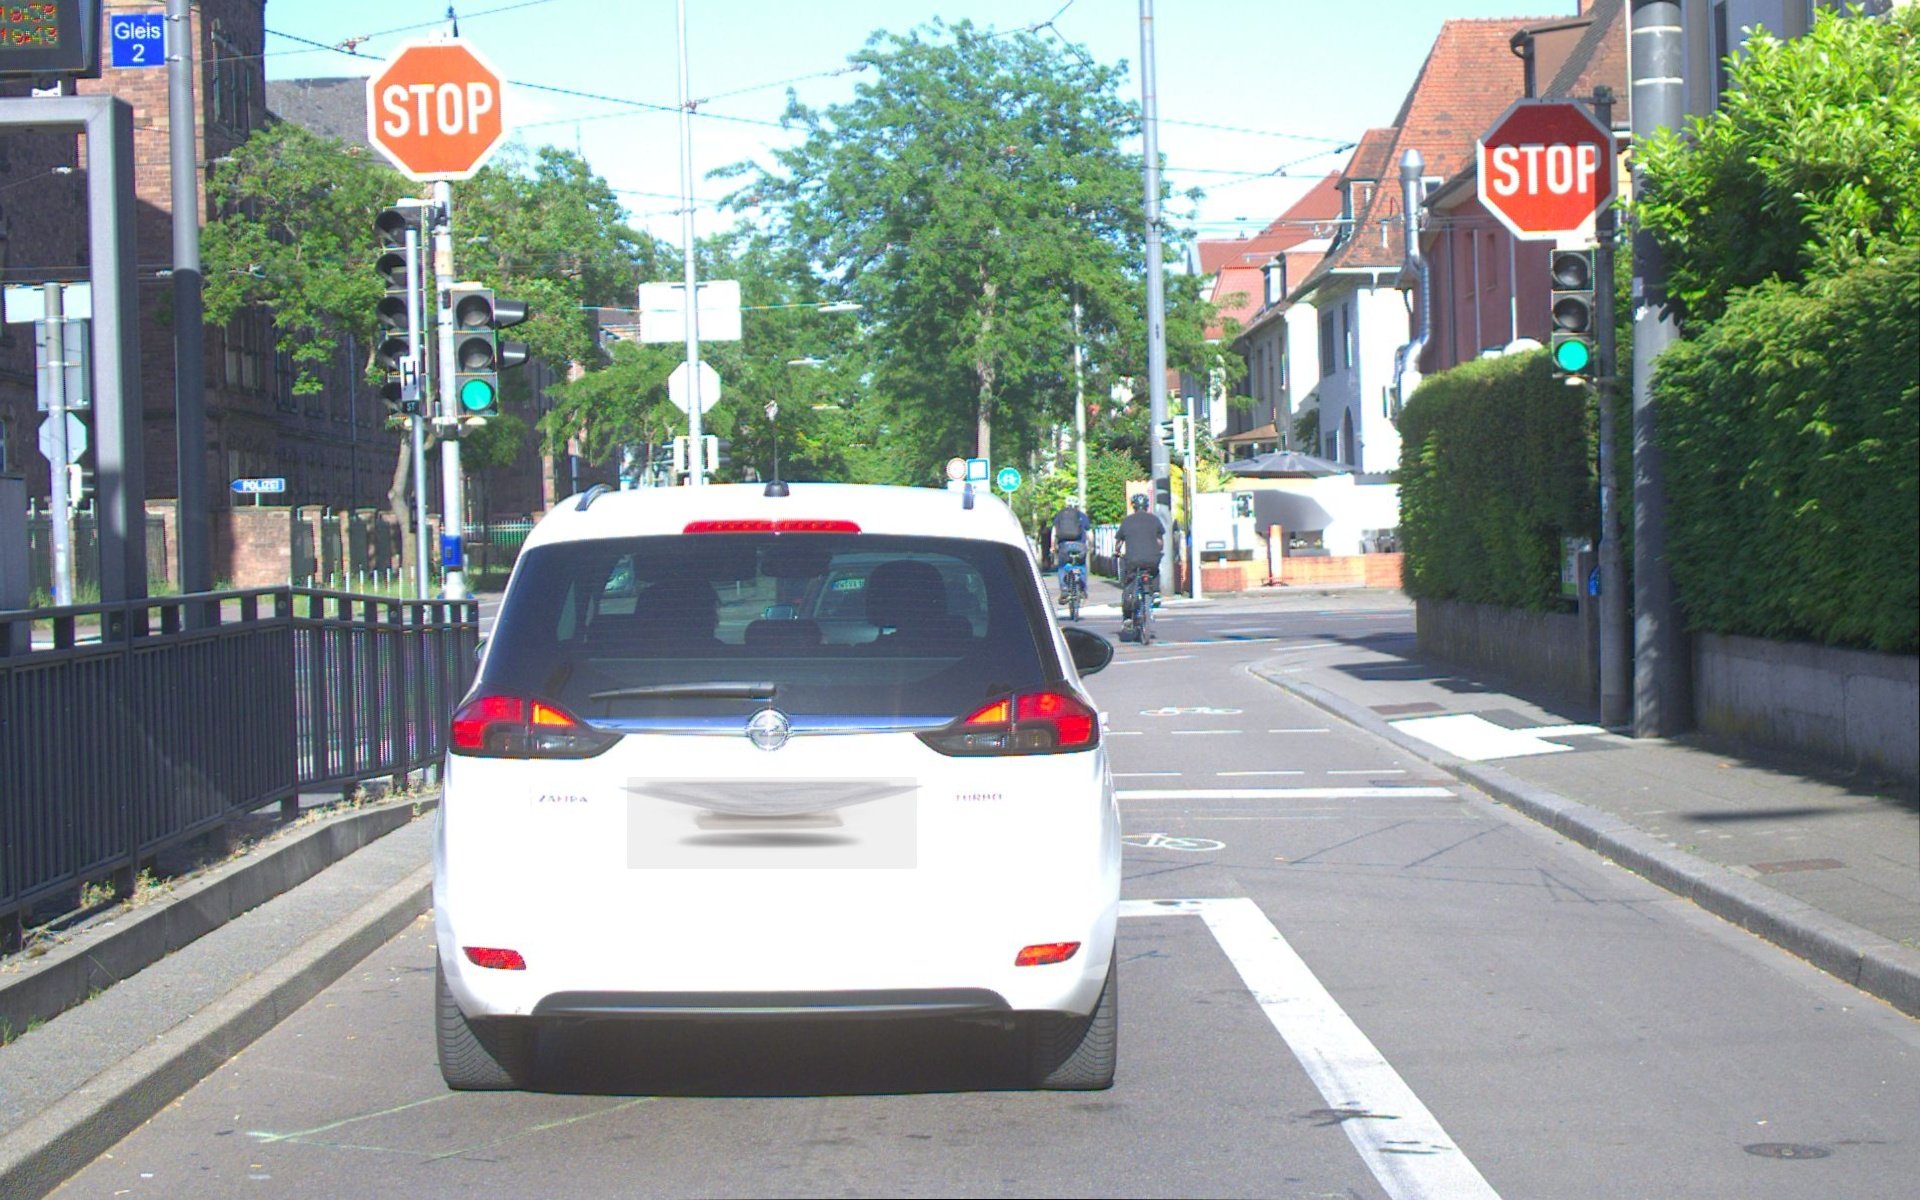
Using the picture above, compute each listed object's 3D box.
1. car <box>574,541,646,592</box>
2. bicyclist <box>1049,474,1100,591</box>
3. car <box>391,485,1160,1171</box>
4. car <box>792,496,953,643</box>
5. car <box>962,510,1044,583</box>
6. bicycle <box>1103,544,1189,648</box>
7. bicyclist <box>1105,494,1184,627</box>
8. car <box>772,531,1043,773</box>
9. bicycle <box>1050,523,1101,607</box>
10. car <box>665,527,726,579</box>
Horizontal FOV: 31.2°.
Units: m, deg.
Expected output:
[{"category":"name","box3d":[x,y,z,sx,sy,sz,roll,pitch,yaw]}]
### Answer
[{"category":"car","box3d":[-10.257,-0.998,100.996,1.581,1.436,3.584,-1,1,2]},{"category":"bicyclist","box3d":[1.625,-0.950,48.610,0.685,1.629,1.015,-1,1,2]},{"category":"car","box3d":[-0.427,0.524,10.295,1.835,1.636,3.919,-1,1,1]},{"category":"car","box3d":[-0.985,-0.376,40.655,1.776,1.626,3.881,-1,1,0]},{"category":"car","box3d":[1.026,-1.251,80.208,1.776,1.626,3.880,-1,1,3]},{"category":"bicycle","box3d":[2.126,-0.063,39.519,0.829,1.150,2.095,-1,1,-1]},{"category":"bicyclist","box3d":[2.114,-0.454,39.472,0.821,1.496,0.934,-1,1,0]},{"category":"car","box3d":[-0.276,0.282,23.080,1.586,1.415,3.900,-2,1,2]},{"category":"bicycle","box3d":[1.638,-0.504,48.605,0.685,1.153,1.619,-1,1,2]},{"category":"car","box3d":[-9.356,-1.664,121.995,1.892,1.777,3.881,-1,1,-1]}]
